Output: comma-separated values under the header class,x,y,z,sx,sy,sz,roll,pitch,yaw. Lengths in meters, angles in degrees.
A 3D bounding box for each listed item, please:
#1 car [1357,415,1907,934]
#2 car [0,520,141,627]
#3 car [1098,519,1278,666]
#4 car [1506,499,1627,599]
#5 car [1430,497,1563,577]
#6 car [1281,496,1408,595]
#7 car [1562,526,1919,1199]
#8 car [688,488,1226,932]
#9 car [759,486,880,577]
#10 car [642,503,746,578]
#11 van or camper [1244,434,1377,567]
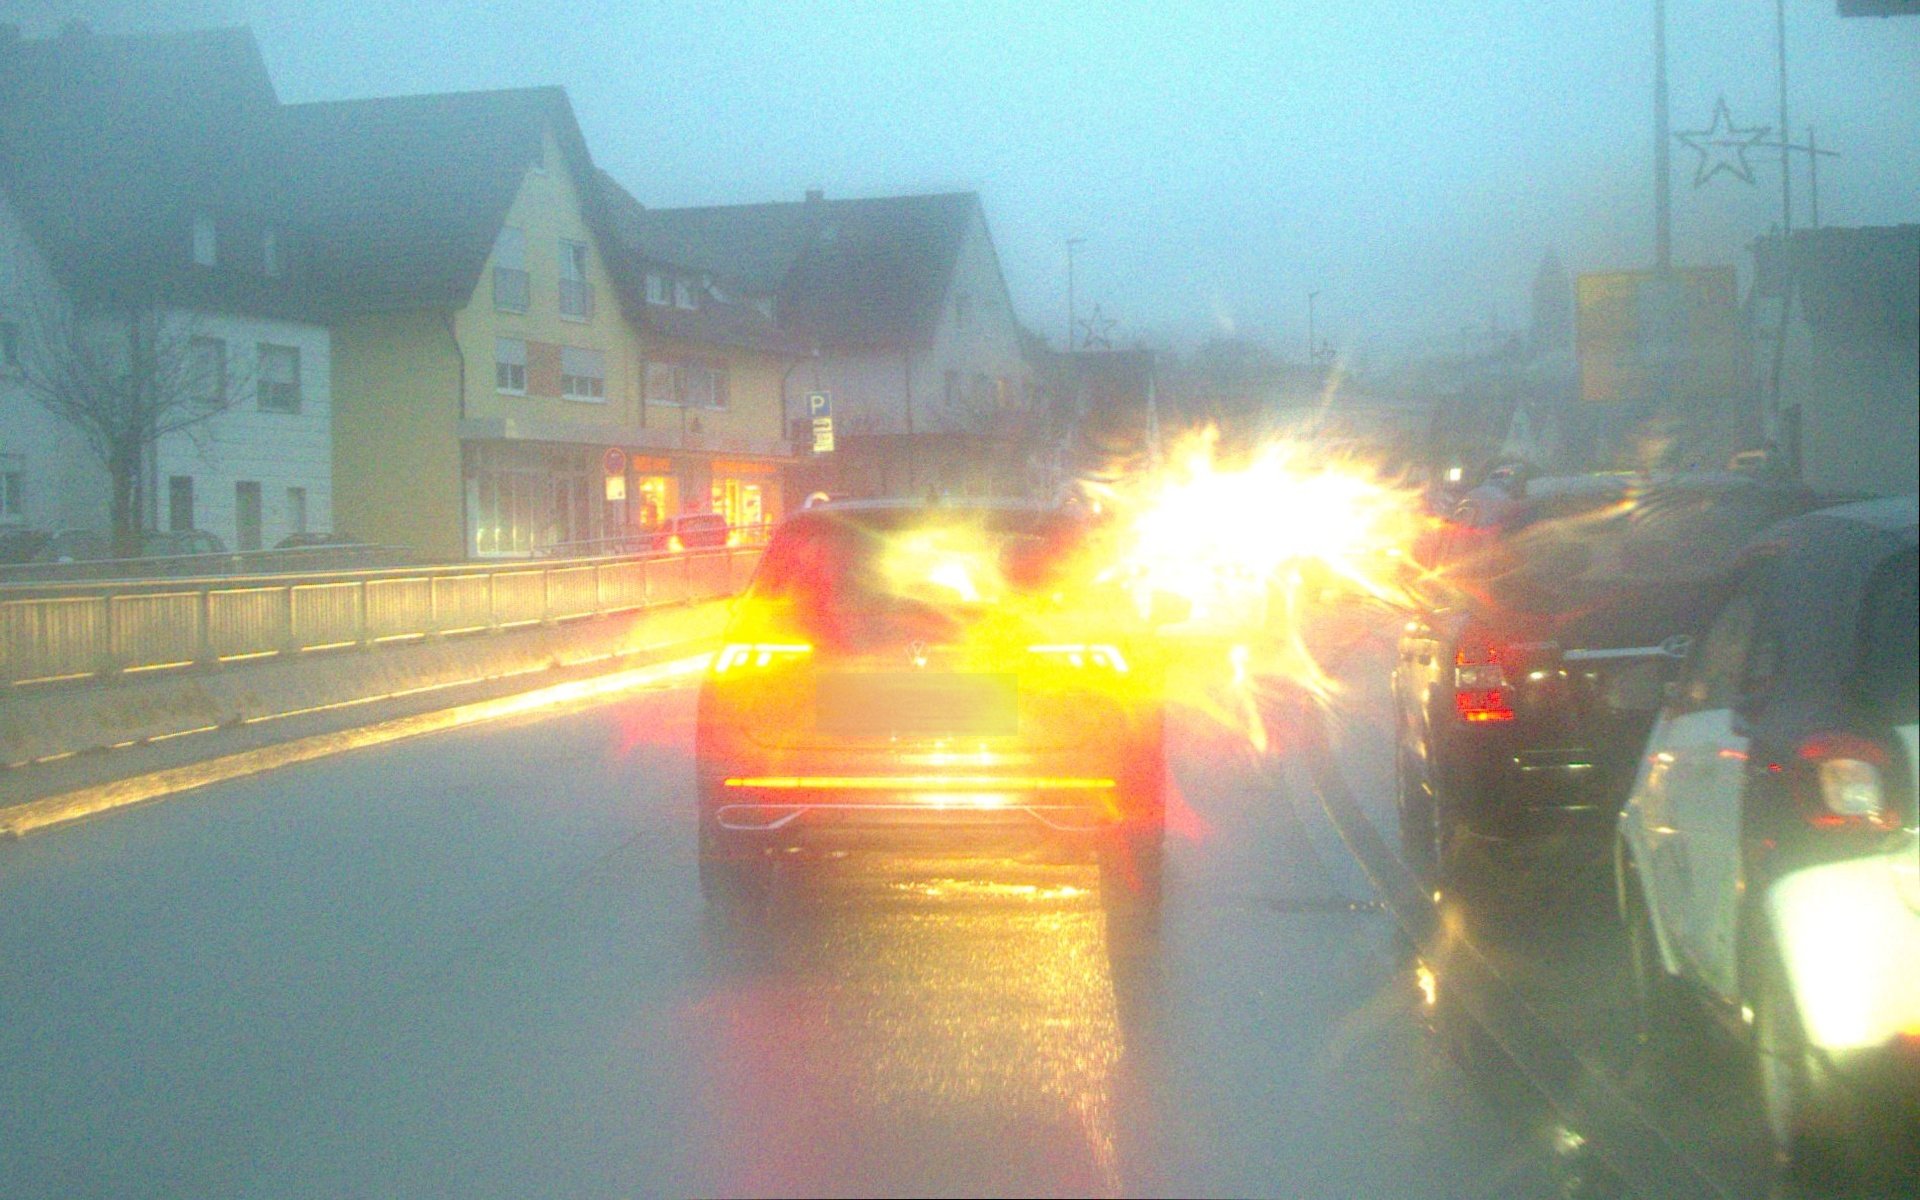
class,x,y,z,sx,sy,sz,roll,pitch,yaw
car,2.656,0.220,14.437,1.770,1.776,4.000,-4,1,5
car,-15.673,-0.473,58.375,1.911,1.677,4.216,-1,2,9
car,2.349,-0.099,36.219,1.682,1.448,4.000,0,1,1
car,13.316,-1.144,75.308,2.159,1.984,4.497,-4,1,14
car,10.114,-1.201,64.610,1.995,1.387,3.997,-1,2,16
car,5.935,-0.865,52.741,1.815,1.407,3.999,0,2,8
car,2.588,0.546,8.629,1.645,1.410,2.727,-3,2,1
car,-0.090,0.333,14.735,1.964,1.589,4.314,0,2,-2
car,-3.166,-1.547,76.922,2.037,1.919,4.058,-2,2,-11
car,-6.022,-1.370,77.524,1.821,1.607,4.058,-2,2,-11
van or camper,7.544,-2.137,73.380,2.241,2.660,6.553,-1,2,10
